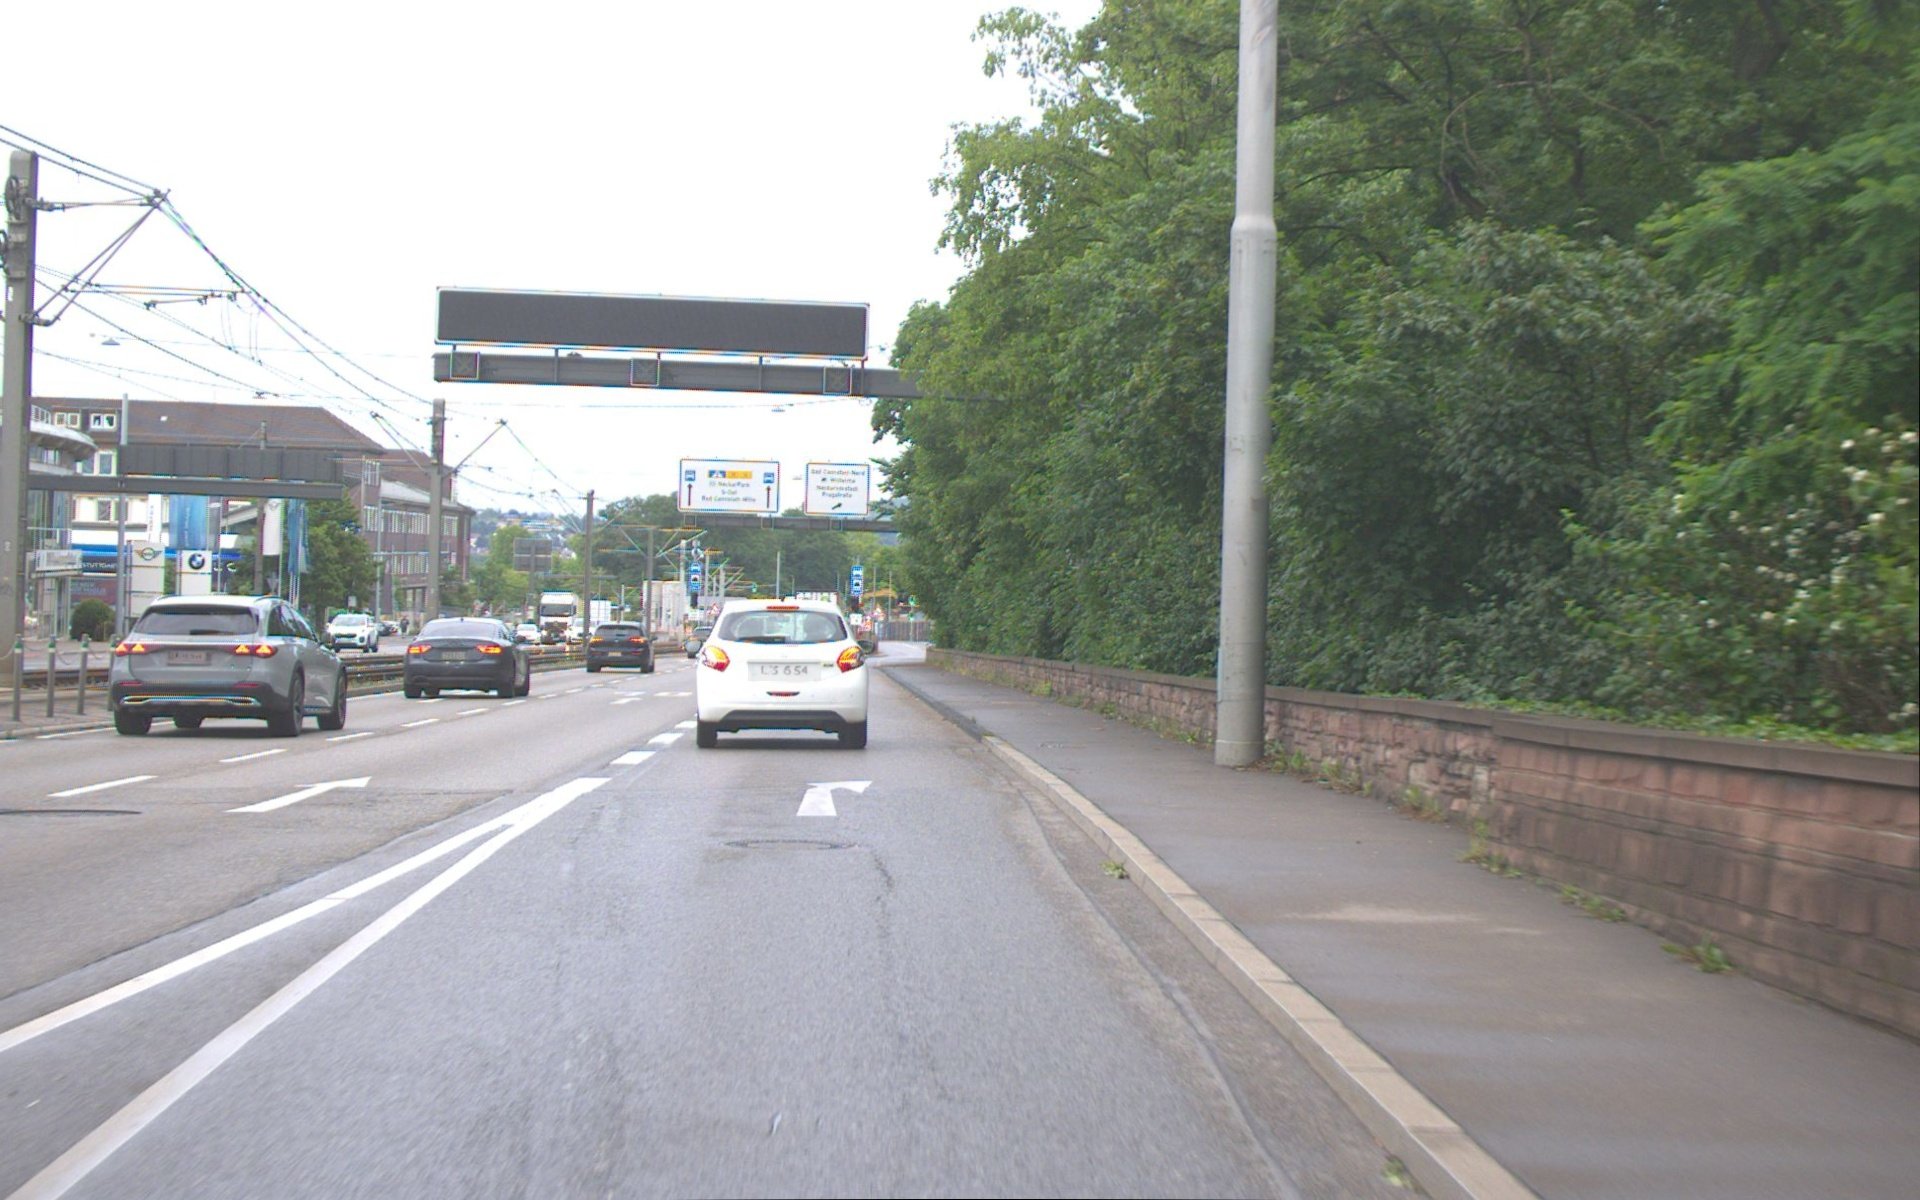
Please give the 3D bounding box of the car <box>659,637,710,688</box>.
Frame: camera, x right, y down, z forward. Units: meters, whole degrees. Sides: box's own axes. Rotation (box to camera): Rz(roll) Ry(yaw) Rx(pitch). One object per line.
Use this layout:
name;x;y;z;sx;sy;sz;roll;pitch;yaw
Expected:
car;-12.153;2.777;151.807;1.993;2.007;3.999;3;-4;-2

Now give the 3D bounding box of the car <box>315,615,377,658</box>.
car;-26.435;1.591;148.117;1.993;1.656;4.000;3;-2;-2

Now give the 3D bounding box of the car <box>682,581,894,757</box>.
car;-1.778;0.655;34.874;1.955;1.483;4.001;3;2;-4

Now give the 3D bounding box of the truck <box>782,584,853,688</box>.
truck;-8.431;2.234;204.344;3.465;5.383;12.049;3;-4;0

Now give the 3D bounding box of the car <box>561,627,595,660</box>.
car;-26.681;3.082;240.313;1.993;2.007;3.999;3;-4;-2

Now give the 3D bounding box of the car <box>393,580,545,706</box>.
car;-8.301;0.698;58.396;1.722;1.885;3.535;2;3;6

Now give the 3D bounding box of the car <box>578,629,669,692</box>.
car;-9.497;1.720;97.289;1.994;1.570;3.999;5;-1;1

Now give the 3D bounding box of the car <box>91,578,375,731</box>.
car;-7.753;0.595;37.052;1.821;1.560;4.090;0;-1;6
